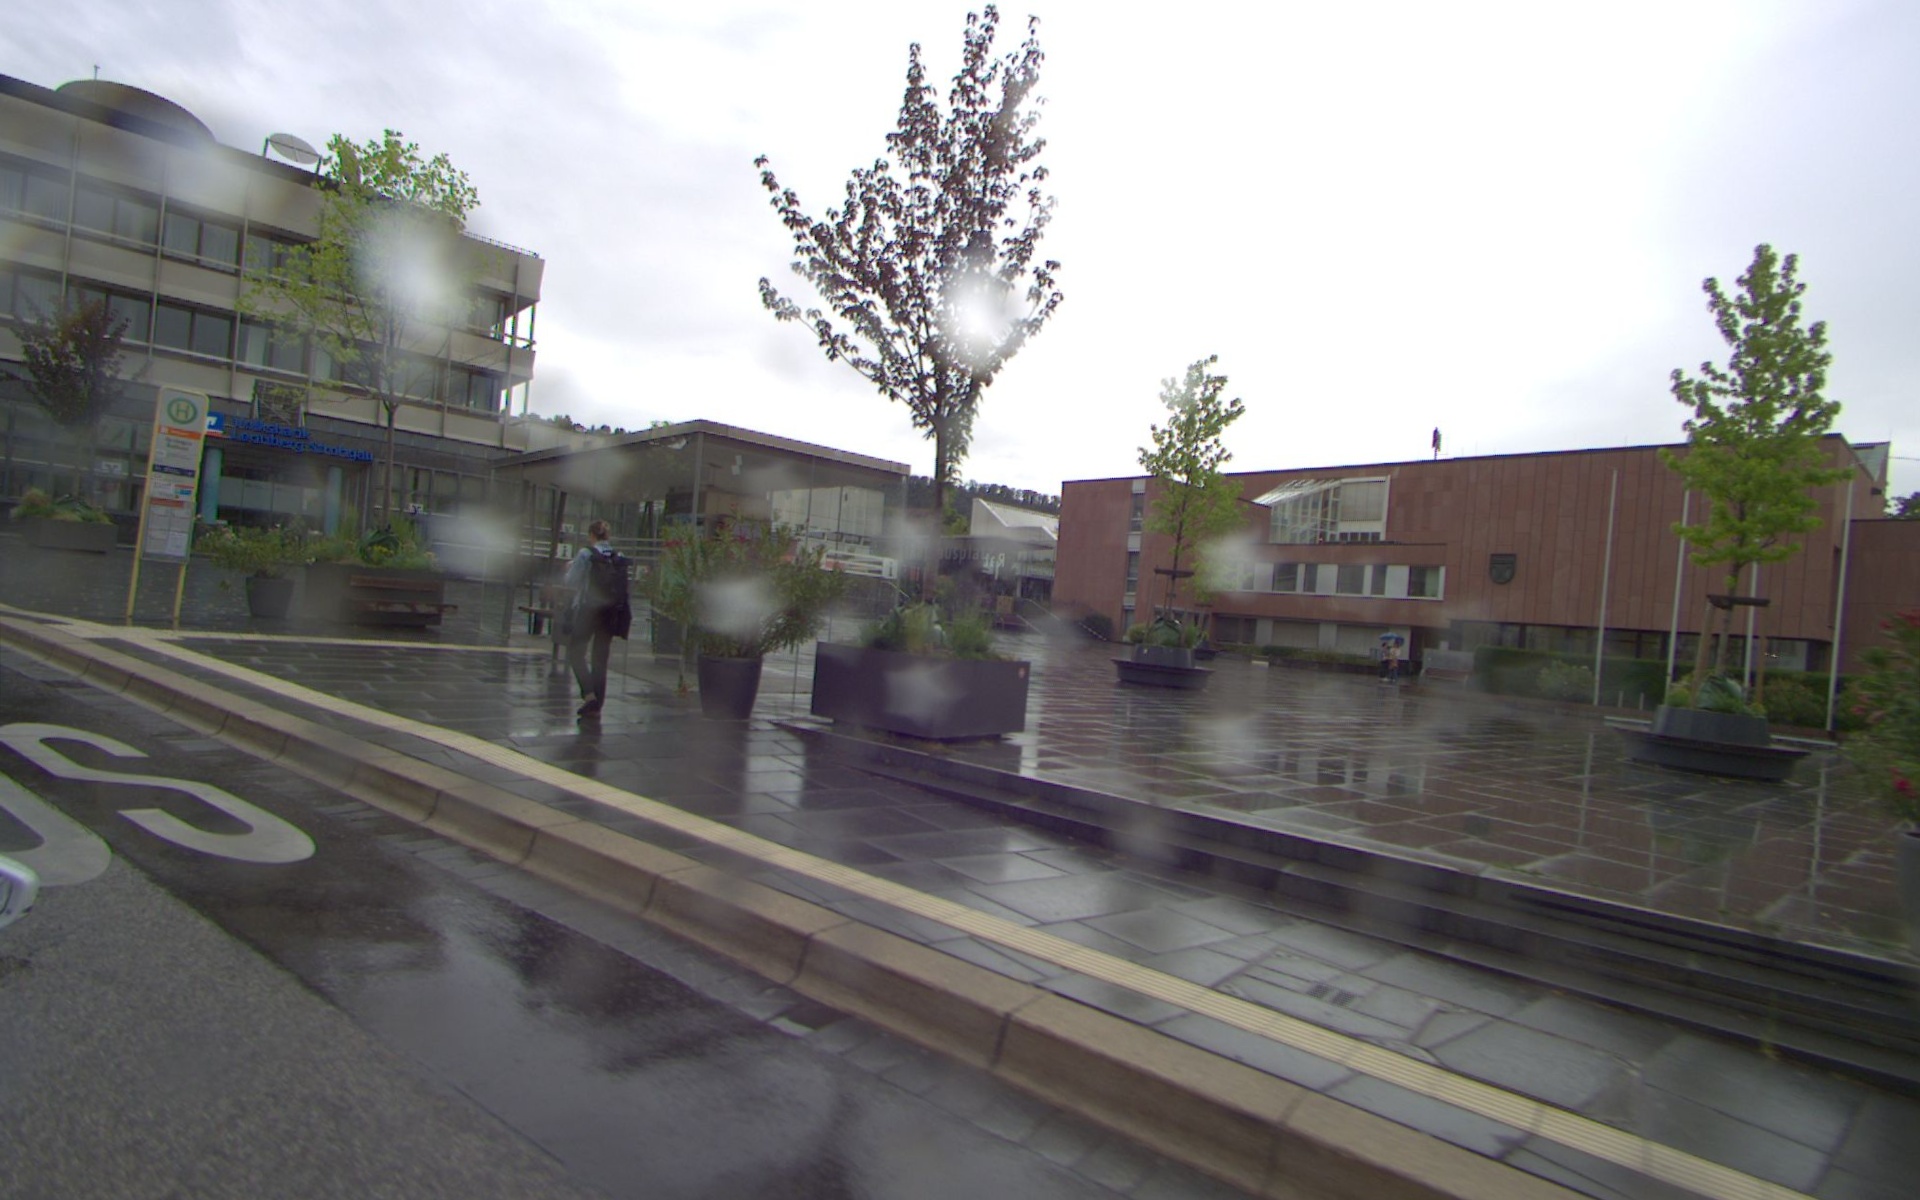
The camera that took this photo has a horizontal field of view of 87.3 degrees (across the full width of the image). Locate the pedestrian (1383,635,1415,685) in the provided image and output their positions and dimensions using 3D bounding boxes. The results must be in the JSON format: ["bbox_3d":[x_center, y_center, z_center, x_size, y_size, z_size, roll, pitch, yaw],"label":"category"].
[{"bbox_3d":[18.854,2.580,43.203,0.847,2.039,0.731,5,1,-7],"label":"pedestrian"}]

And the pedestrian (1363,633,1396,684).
[{"bbox_3d":[17.964,2.495,43.088,0.847,2.039,0.731,5,1,-7],"label":"pedestrian"}]

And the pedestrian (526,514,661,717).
[{"bbox_3d":[-3.147,0.133,8.645,0.683,1.638,0.727,6,1,39],"label":"pedestrian"}]
